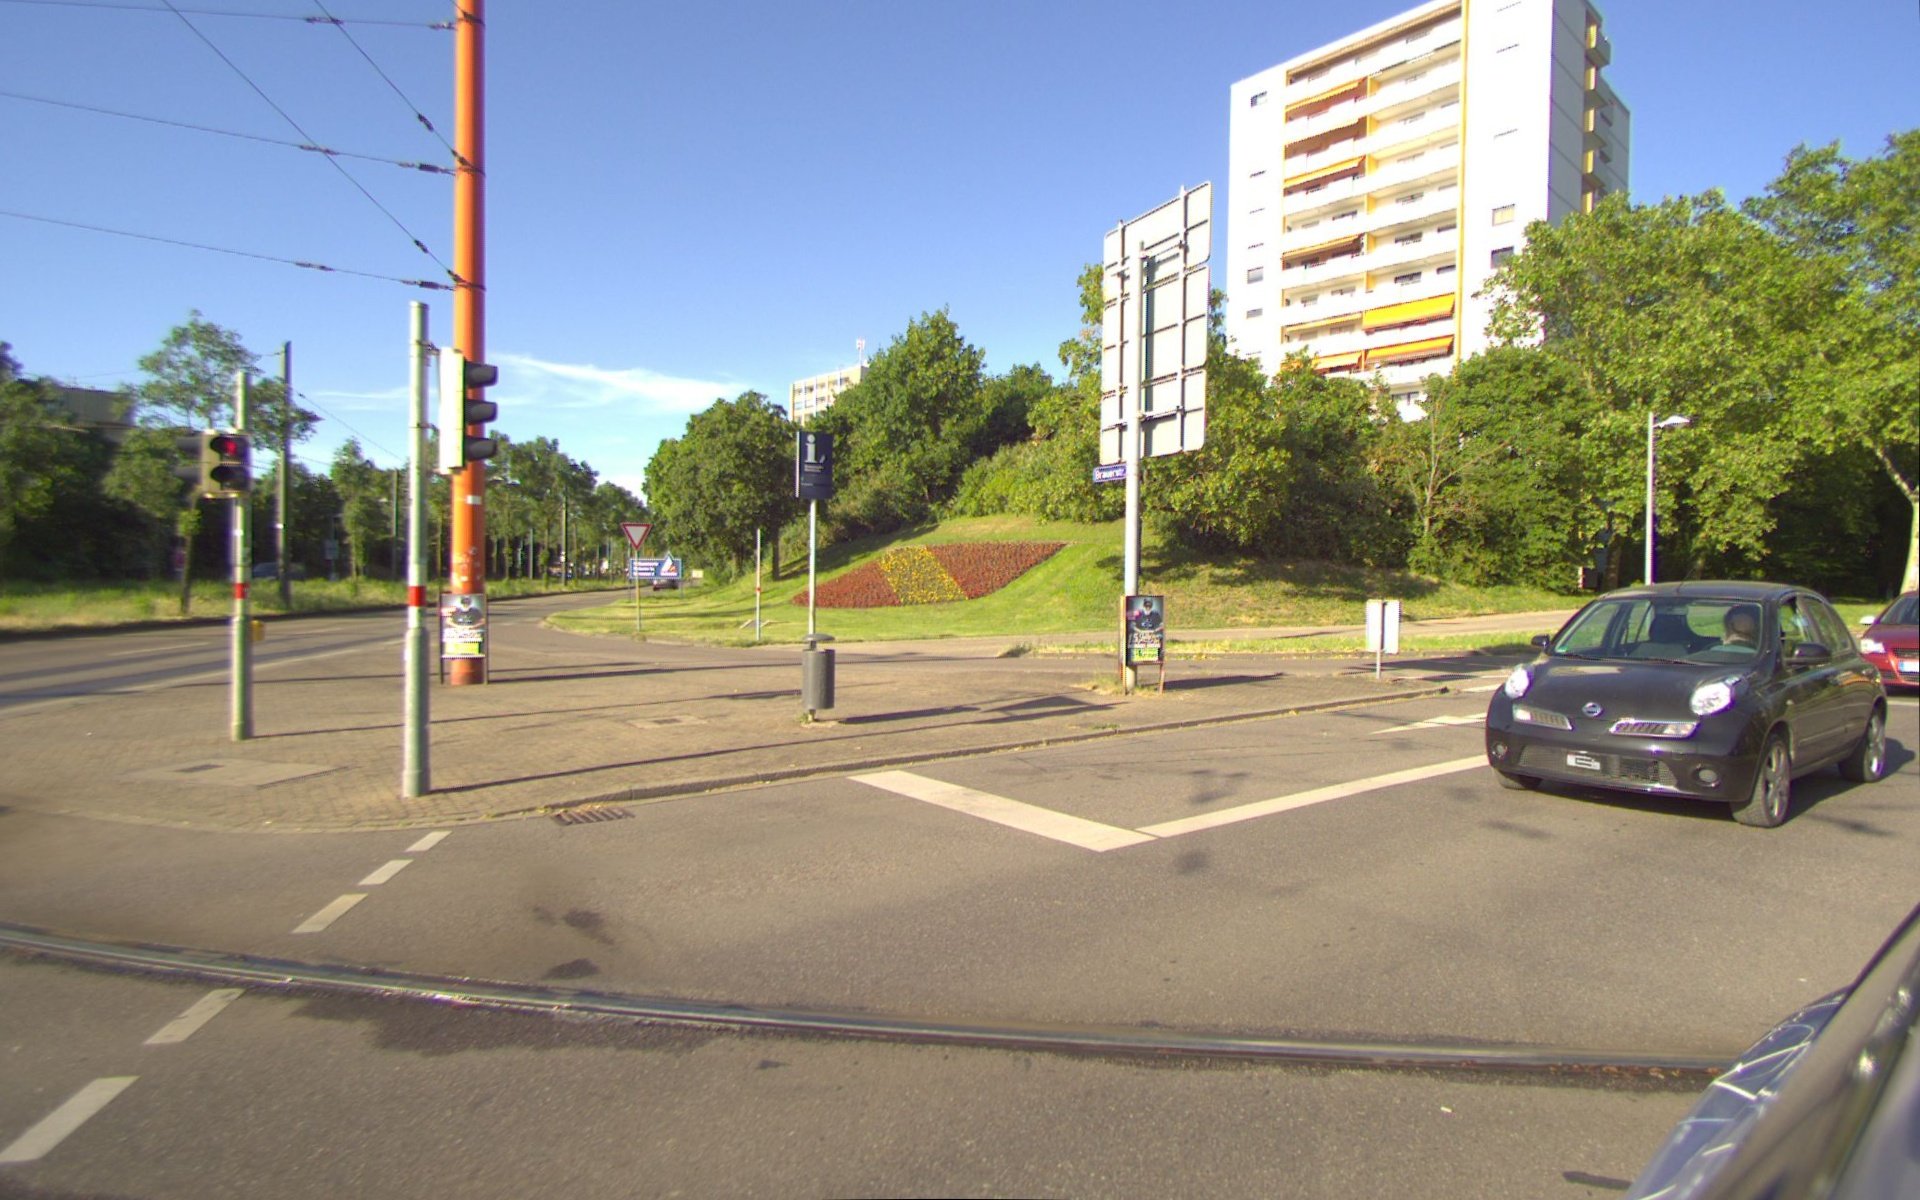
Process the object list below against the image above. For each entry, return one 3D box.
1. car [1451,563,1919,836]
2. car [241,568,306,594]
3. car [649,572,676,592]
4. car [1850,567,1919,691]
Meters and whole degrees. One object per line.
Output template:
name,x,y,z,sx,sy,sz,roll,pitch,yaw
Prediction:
car,5.696,0.511,7.640,4.537,1.501,1.740,-1,1,-37
car,-48.604,-1.349,71.756,1.959,1.754,4.827,0,1,-9
car,-25.489,-1.552,86.802,1.958,1.725,4.703,-1,1,-13
car,14.268,0.351,14.163,4.638,1.578,1.773,-1,1,-36
